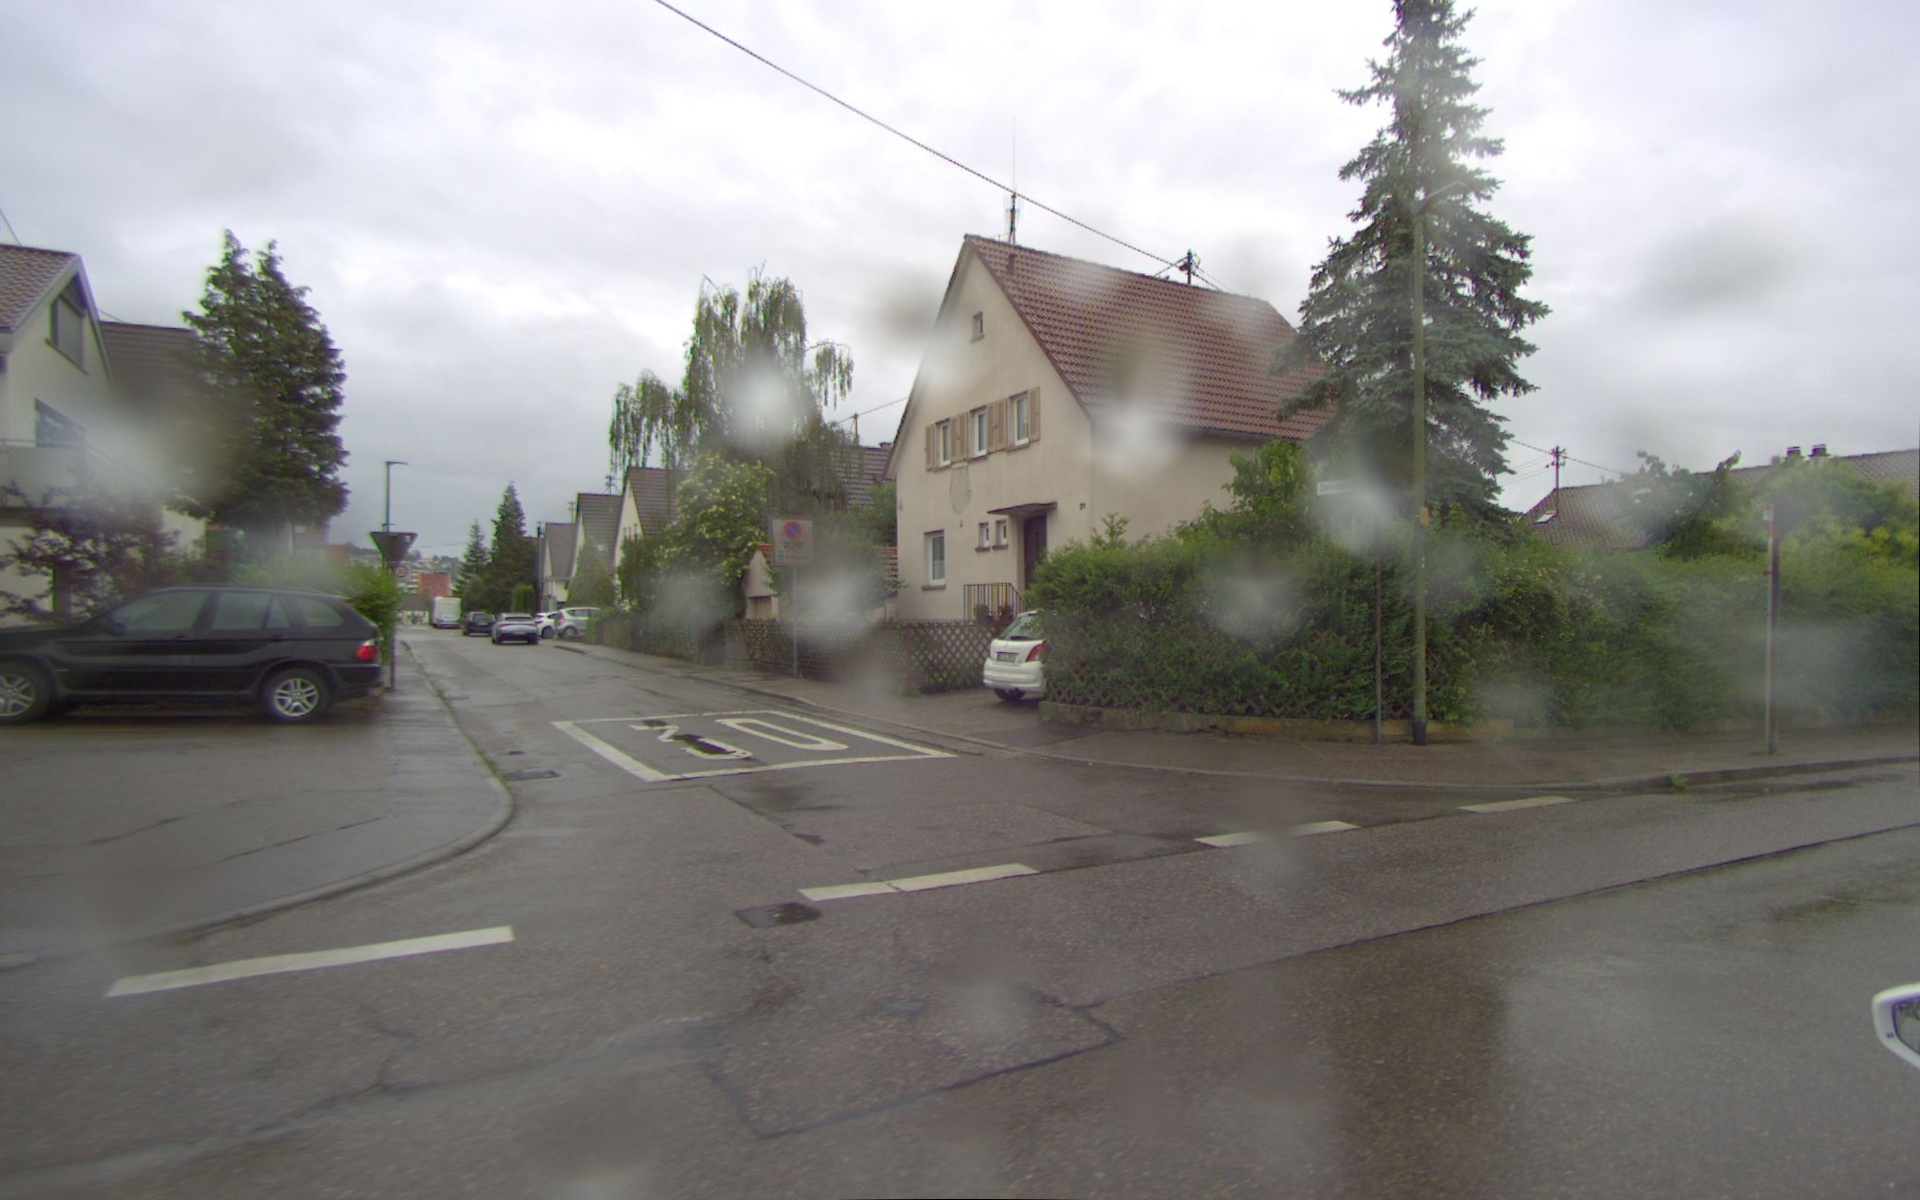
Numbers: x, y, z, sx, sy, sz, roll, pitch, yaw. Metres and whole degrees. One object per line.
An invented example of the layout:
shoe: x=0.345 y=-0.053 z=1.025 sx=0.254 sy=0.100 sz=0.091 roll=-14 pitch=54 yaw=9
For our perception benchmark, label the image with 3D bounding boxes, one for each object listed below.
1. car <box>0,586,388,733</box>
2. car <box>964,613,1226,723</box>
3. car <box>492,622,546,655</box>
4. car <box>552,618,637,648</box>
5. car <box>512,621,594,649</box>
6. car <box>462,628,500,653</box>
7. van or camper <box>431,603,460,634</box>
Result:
car: x=-10.082 y=0.785 z=13.067 sx=4.493 sy=1.680 sz=1.850 roll=4 pitch=-3 yaw=-30
car: x=2.221 y=1.015 z=16.306 sx=3.952 sy=1.528 sz=1.786 roll=-1 pitch=-1 yaw=-30
car: x=-20.888 y=1.800 z=47.505 sx=1.976 sy=1.461 sz=3.970 roll=1 pitch=-1 yaw=-29
car: x=-19.040 y=1.718 z=52.336 sx=3.949 sy=1.461 sz=1.986 roll=1 pitch=-1 yaw=-28
car: x=-22.040 y=1.897 z=54.455 sx=3.949 sy=1.461 sz=1.986 roll=1 pitch=-1 yaw=-28
car: x=-30.125 y=2.513 z=63.114 sx=1.976 sy=1.461 sz=3.970 roll=1 pitch=-1 yaw=-29
van or camper: x=-49.501 y=1.788 z=96.552 sx=2.236 sy=2.834 sz=6.423 roll=1 pitch=-1 yaw=-29
